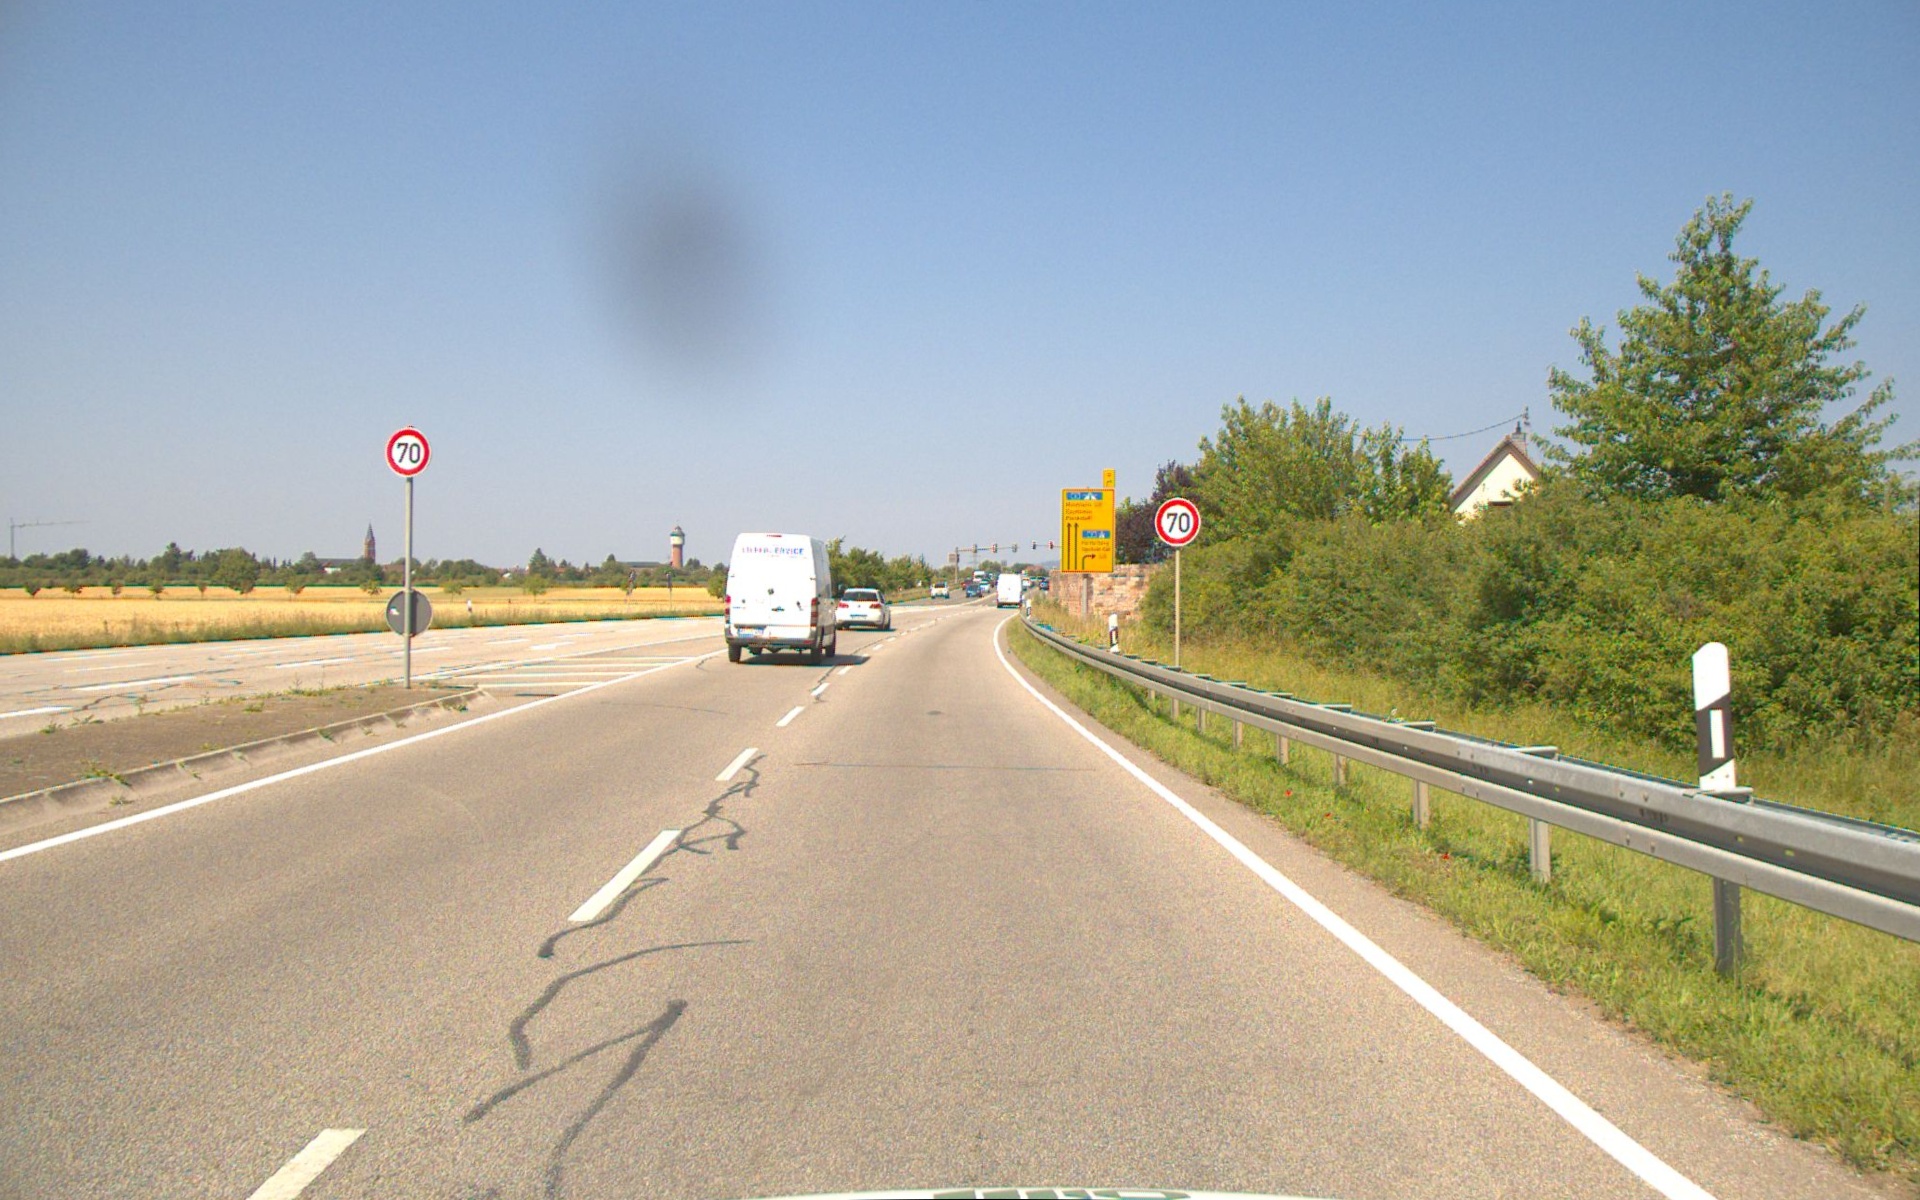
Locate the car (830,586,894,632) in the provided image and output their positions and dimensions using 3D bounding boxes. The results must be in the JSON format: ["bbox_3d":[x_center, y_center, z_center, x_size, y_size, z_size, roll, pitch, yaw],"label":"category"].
[{"bbox_3d":[-3.515,0.300,60.062,1.761,1.534,4.198,1,1,4],"label":"car"}]

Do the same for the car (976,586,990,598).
[{"bbox_3d":[3.100,-1.039,221.546,1.712,1.467,4.083,2,0,4],"label":"car"}]

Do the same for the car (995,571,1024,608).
[{"bbox_3d":[3.822,-0.776,126.920,1.952,2.742,4.971,2,-1,4],"label":"car"}]

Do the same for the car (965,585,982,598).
[{"bbox_3d":[1.540,-0.935,187.557,1.712,1.467,4.084,0,0,4],"label":"car"}]

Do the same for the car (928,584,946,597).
[{"bbox_3d":[-2.561,-1.058,184.361,1.712,1.467,4.084,0,0,4],"label":"car"}]

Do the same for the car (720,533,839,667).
[{"bbox_3d":[-3.836,-0.014,36.101,1.998,2.666,5.740,1,0,-1],"label":"car"}]
